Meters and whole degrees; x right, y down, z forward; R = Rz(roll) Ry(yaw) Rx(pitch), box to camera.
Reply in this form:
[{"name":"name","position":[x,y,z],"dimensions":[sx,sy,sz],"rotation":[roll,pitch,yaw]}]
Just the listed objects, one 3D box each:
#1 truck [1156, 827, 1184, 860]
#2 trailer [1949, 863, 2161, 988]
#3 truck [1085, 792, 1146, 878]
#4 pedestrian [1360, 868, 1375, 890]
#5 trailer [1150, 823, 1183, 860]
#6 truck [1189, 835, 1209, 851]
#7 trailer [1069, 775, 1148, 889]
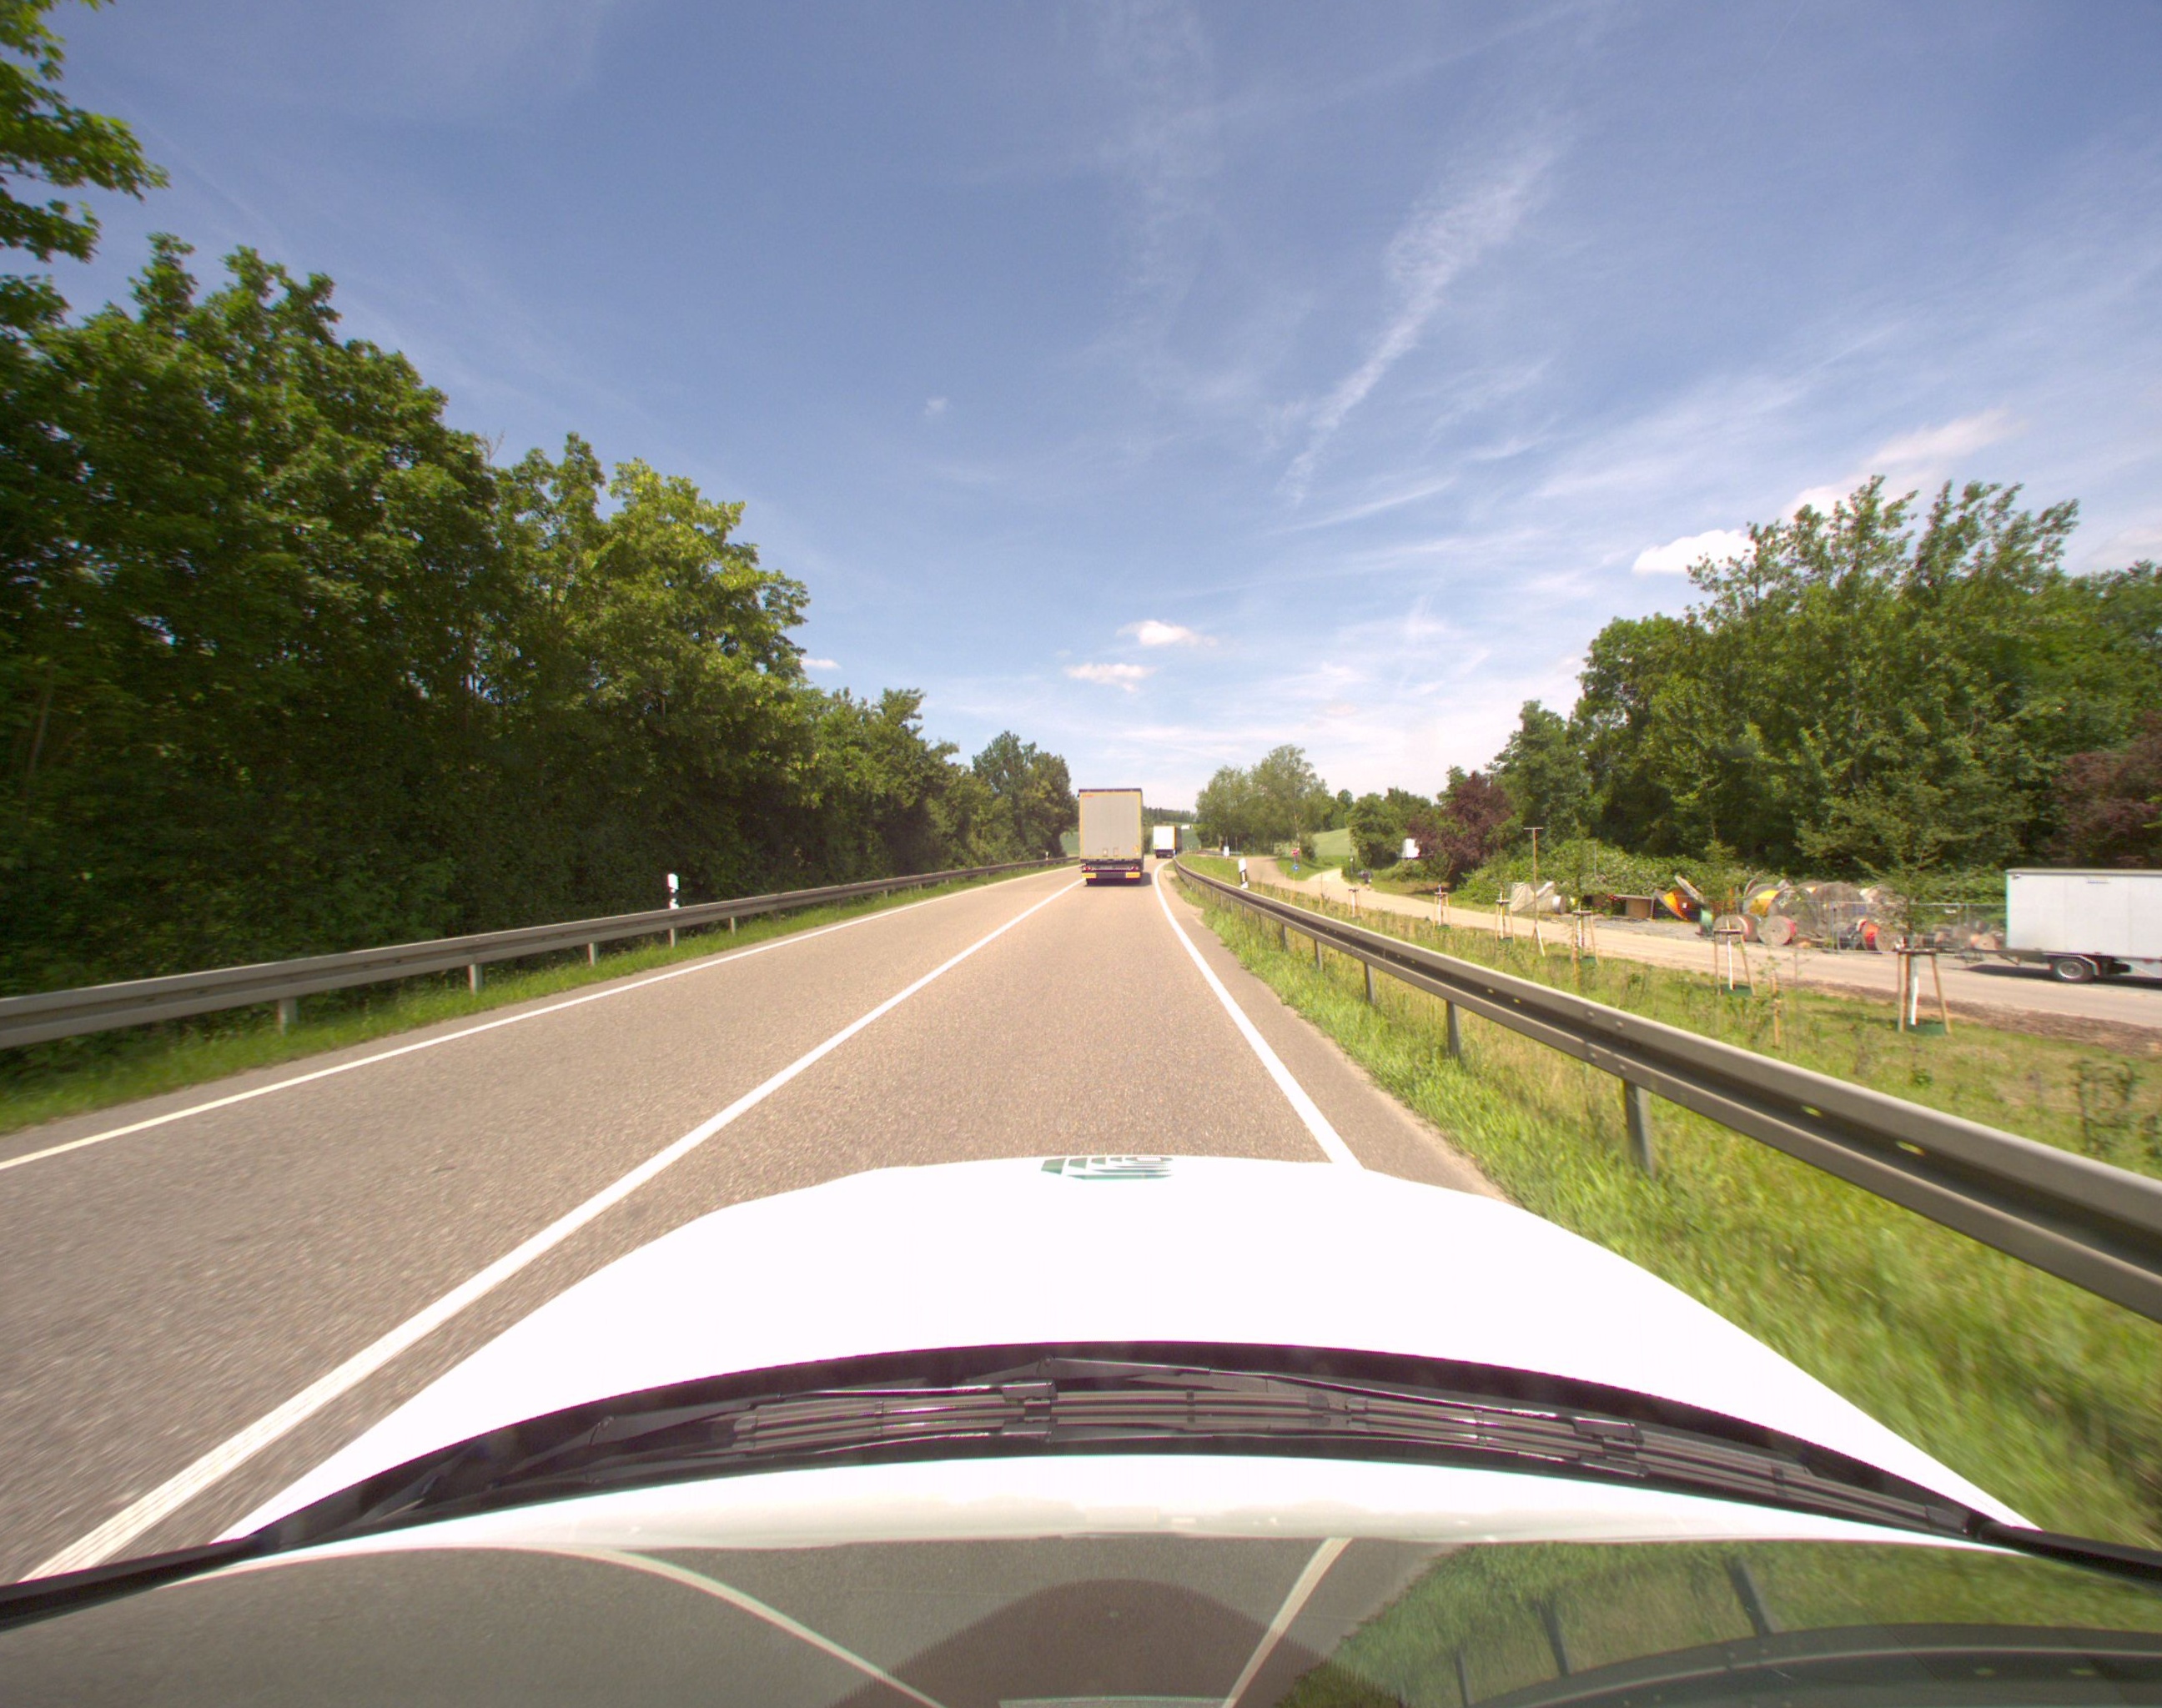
[{"name":"truck","position":[12.231,-1.369,111.051],"dimensions":[3.345,4.317,6.758],"rotation":[-1,-1,9]},{"name":"trailer","position":[31.455,1.942,21.201],"dimensions":[2.736,3.328,11.780],"rotation":[-1,0,-30]},{"name":"truck","position":[2.063,-1.038,46.338],"dimensions":[3.104,4.494,6.820],"rotation":[-1,0,5]},{"name":"pedestrian","position":[24.739,2.112,70.288],"dimensions":[0.881,1.811,0.960],"rotation":[-4,0,1]},{"name":"trailer","position":[11.157,-1.418,104.912],"dimensions":[3.345,4.317,13.900],"rotation":[-1,-1,10]},{"name":"truck","position":[27.307,-2.478,187.839],"dimensions":[3.200,3.365,11.919],"rotation":[-1,-1,14]},{"name":"trailer","position":[1.572,-0.962,39.562],"dimensions":[3.104,4.499,13.901],"rotation":[-1,1,4]}]
